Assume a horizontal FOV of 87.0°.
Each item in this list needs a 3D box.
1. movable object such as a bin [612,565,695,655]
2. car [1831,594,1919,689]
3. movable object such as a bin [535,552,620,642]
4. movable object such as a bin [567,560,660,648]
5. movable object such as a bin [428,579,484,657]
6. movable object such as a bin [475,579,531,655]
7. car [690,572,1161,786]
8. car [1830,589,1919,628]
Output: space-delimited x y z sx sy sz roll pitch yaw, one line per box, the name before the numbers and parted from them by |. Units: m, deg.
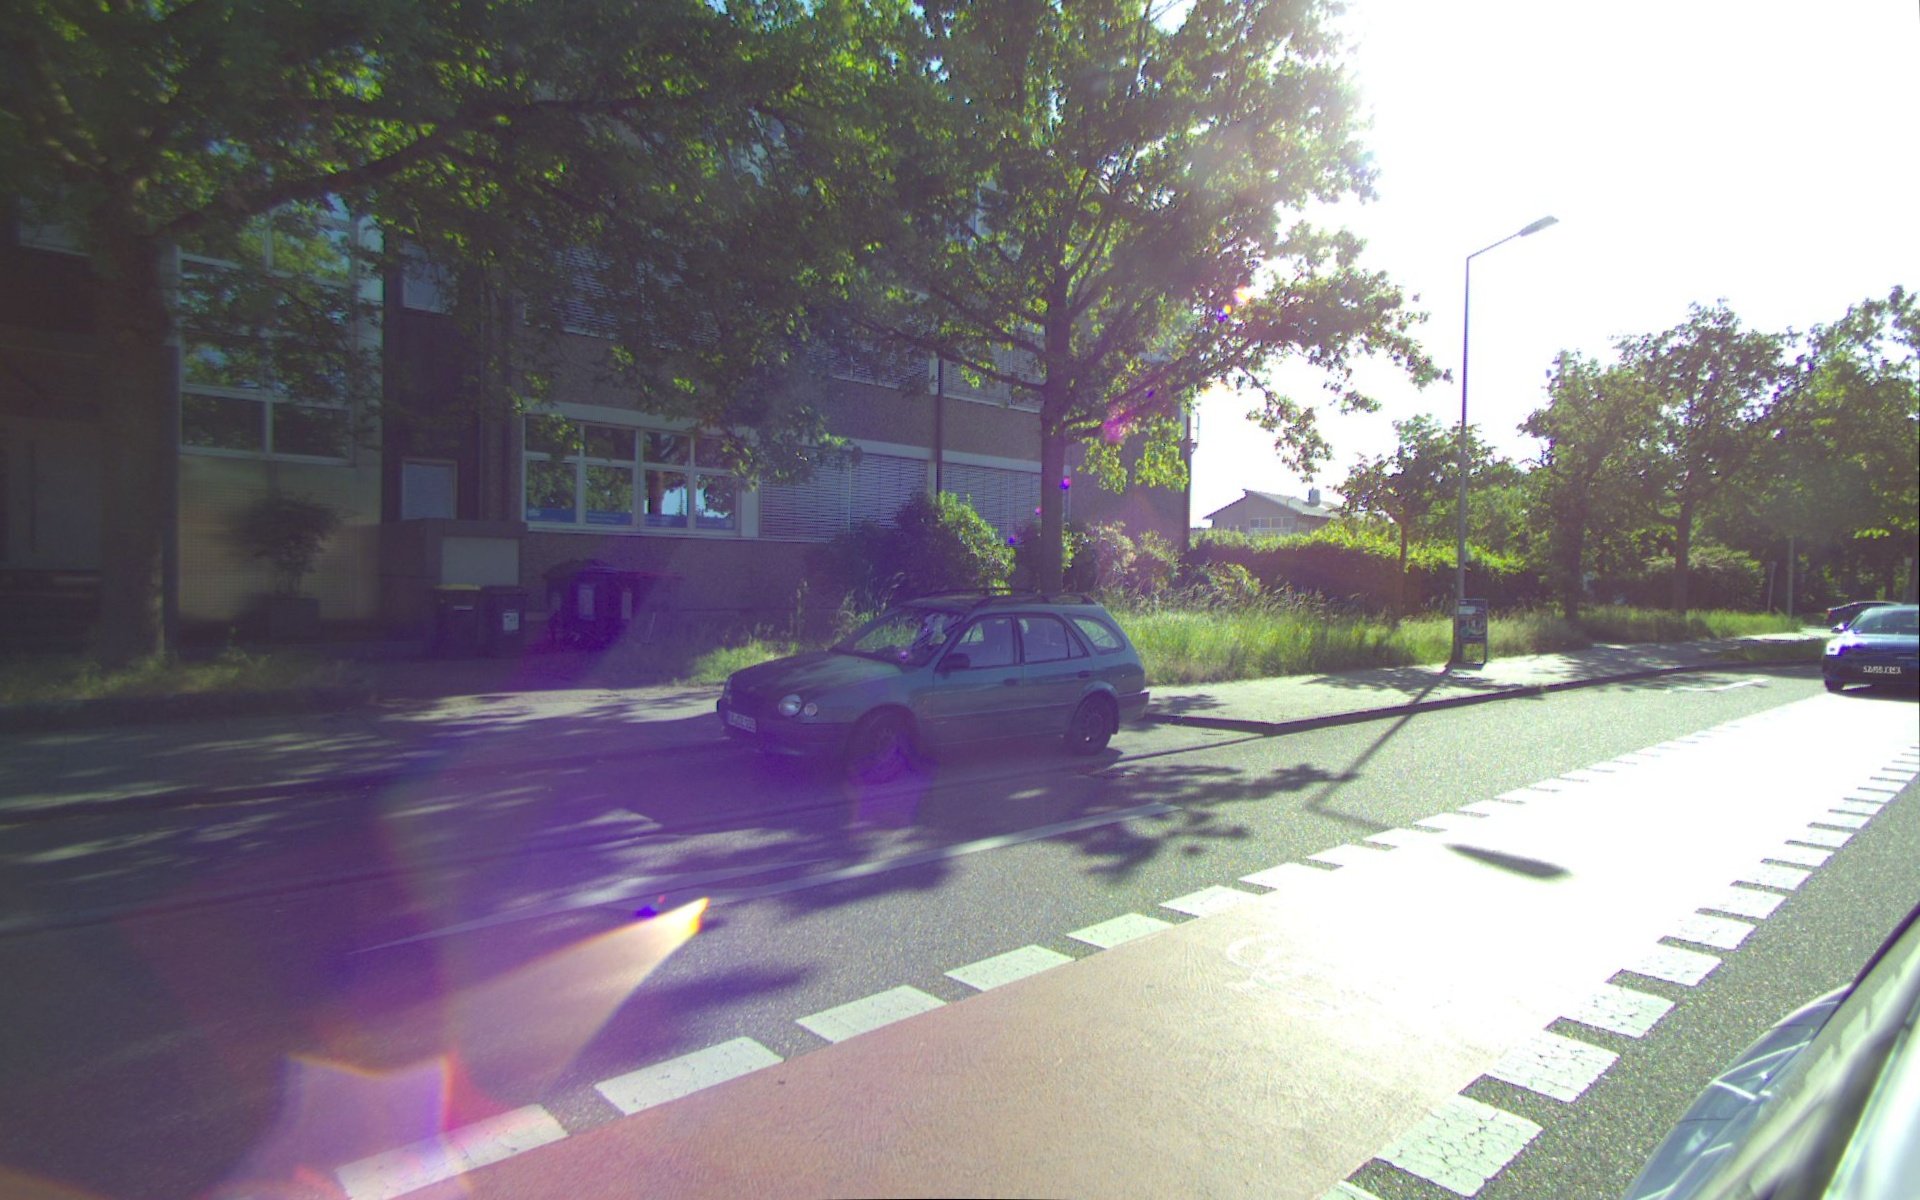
movable object such as a bin | -4.785 0.123 15.770 0.878 1.323 1.186 0 2 -37
car | 16.595 0.653 17.301 3.865 1.487 1.655 0 0 -34
movable object such as a bin | -6.784 -0.076 17.938 1.024 1.501 1.309 0 2 -41
movable object such as a bin | -5.775 0.040 16.858 1.070 1.388 1.186 0 2 -43
movable object such as a bin | -7.218 0.243 14.494 0.575 1.070 0.625 0 1 -42
movable object such as a bin | -6.762 0.238 14.975 0.604 1.075 0.634 0 1 -42
car | -0.149 0.573 9.129 4.068 1.487 1.705 1 1 -41
car | 40.382 0.348 43.230 1.859 1.538 4.495 0 2 -29
